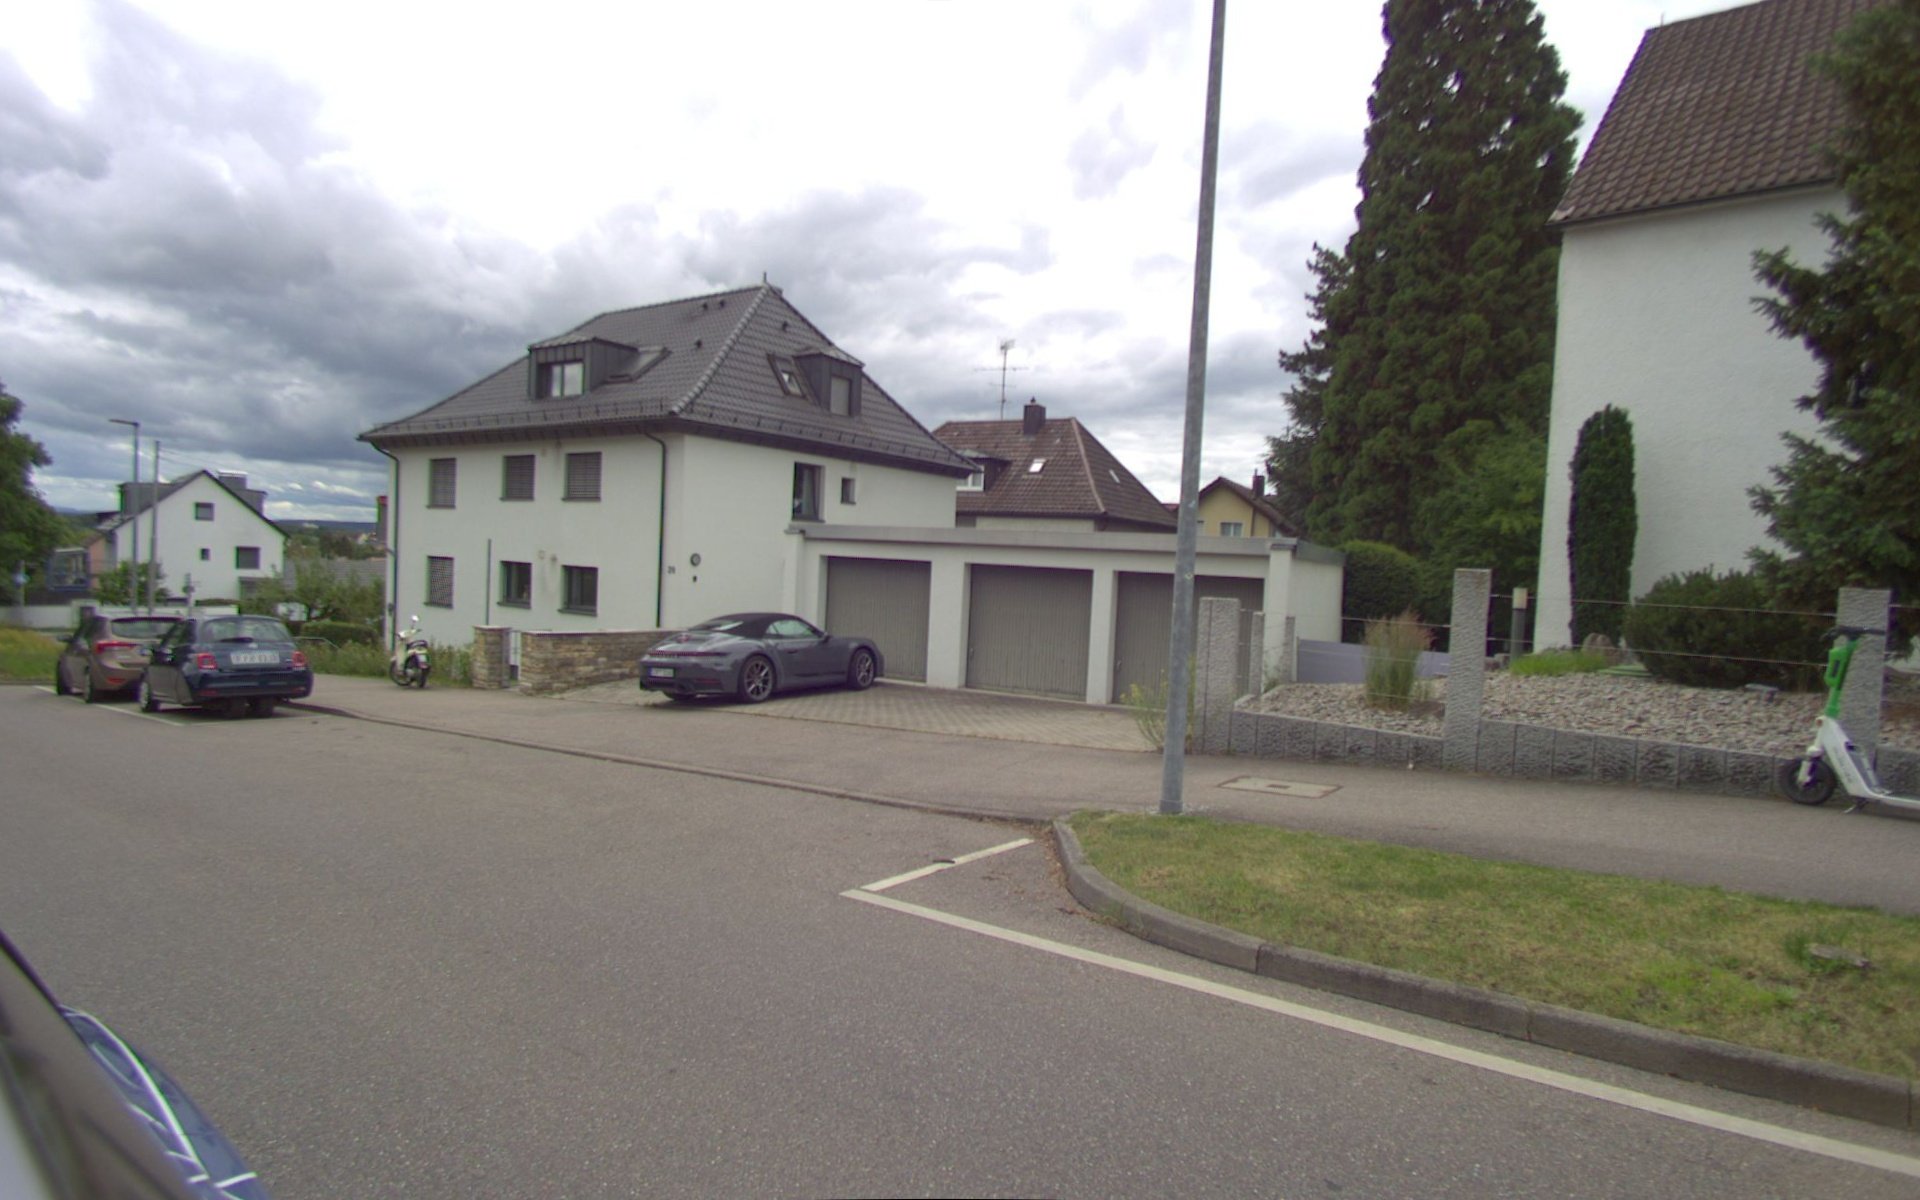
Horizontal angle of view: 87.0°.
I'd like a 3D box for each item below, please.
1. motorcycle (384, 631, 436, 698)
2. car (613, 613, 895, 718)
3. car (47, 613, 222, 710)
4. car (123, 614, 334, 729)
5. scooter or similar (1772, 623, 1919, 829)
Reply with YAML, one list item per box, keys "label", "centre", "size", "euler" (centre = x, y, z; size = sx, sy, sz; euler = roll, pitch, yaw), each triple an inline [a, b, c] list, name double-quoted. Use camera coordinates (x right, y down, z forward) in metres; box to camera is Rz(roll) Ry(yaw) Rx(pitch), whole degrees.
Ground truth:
- label: "motorcycle"
  centre: [-10.444, 1.190, 19.180]
  size: [0.424, 1.169, 1.865]
  euler: [2, -1, -42]
- label: "car"
  centre: [-3.074, 0.920, 15.948]
  size: [1.899, 1.378, 4.250]
  euler: [-1, -1, 34]
- label: "car"
  centre: [-15.435, 1.059, 18.864]
  size: [3.869, 1.597, 1.858]
  euler: [-1, -1, 40]
- label: "car"
  centre: [-11.294, 1.000, 15.557]
  size: [3.505, 1.548, 1.858]
  euler: [-1, -1, 40]
- label: "scooter or similar"
  centre: [5.717, 0.728, 5.882]
  size: [0.468, 1.157, 1.458]
  euler: [-2, 1, -34]
